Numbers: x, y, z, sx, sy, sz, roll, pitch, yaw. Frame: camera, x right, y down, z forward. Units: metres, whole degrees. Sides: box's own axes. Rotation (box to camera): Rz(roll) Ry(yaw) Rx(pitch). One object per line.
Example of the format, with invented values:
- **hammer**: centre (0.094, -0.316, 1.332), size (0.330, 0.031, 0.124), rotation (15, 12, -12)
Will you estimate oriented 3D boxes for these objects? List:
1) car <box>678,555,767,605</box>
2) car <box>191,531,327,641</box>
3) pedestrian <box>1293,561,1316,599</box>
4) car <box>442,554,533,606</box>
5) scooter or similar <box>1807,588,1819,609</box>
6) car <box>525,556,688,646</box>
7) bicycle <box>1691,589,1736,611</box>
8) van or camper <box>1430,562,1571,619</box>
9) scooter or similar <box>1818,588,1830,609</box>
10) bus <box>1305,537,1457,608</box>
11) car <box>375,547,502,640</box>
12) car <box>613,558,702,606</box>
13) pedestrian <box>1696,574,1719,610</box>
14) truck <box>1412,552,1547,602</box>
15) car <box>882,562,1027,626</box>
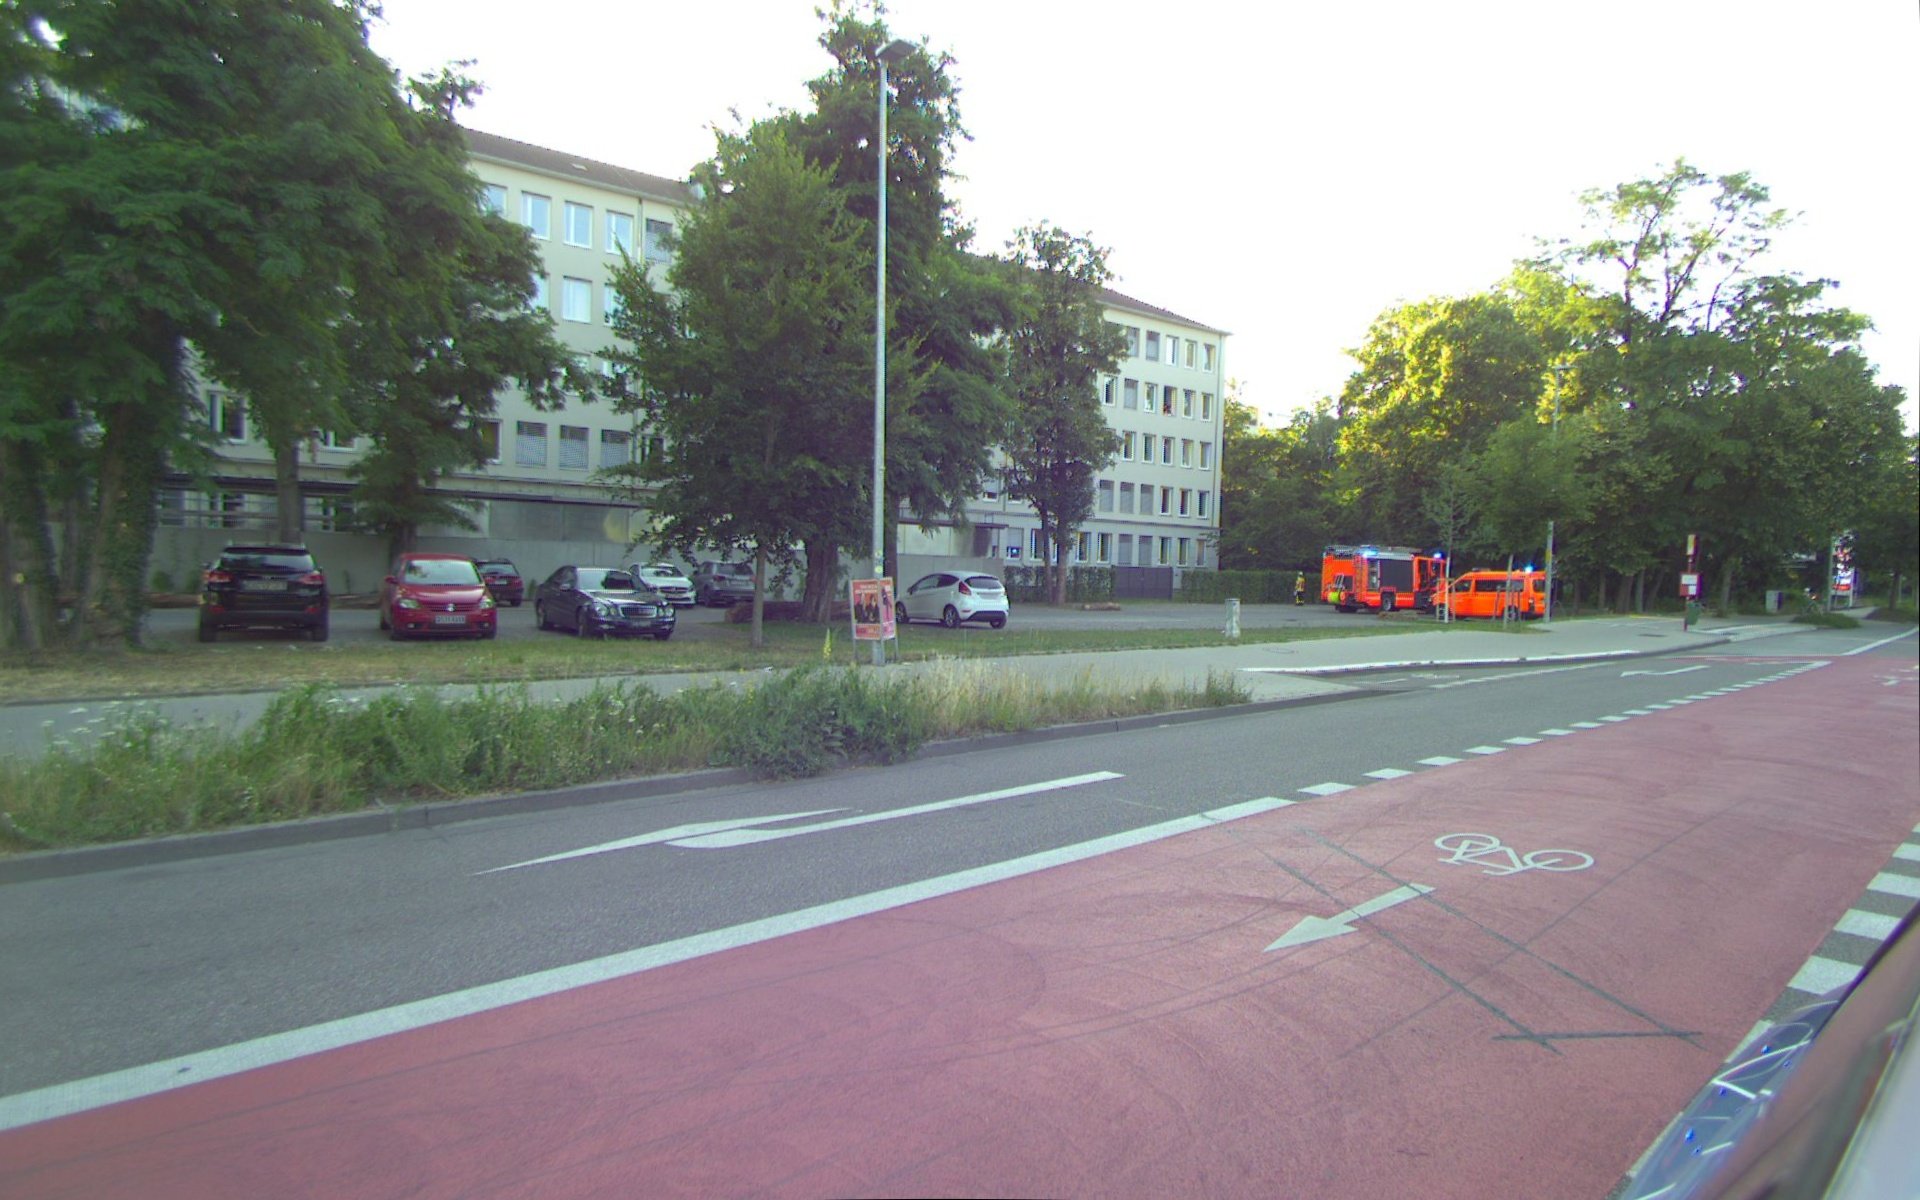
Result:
- **car**: centre (-8.354, -0.722, 35.422), size (1.875, 1.636, 4.004), rotation (-1, 2, -32)
- **car**: centre (-12.397, -0.277, 17.889), size (1.802, 1.715, 3.910), rotation (0, 1, -36)
- **pedestrian**: centre (18.887, -1.080, 55.513), size (0.810, 2.038, 0.774), rotation (1, 2, -32)
- **car**: centre (-14.463, -0.627, 30.869), size (1.866, 1.460, 4.001), rotation (0, 2, -35)
- **scooter or similar**: centre (53.194, -0.097, 63.089), size (0.482, 1.297, 1.213), rotation (5, 3, 40)
- **car**: centre (-7.445, -0.083, 21.009), size (1.866, 1.465, 4.584), rotation (-2, 6, -37)
- **bicycle**: centre (43.072, -0.007, 57.885), size (0.816, 1.111, 1.973), rotation (1, 2, -11)
- **van or camper**: centre (23.046, -0.448, 43.336), size (2.250, 2.272, 4.832), rotation (0, 1, -33)
- **scooter or similar**: centre (54.811, -0.084, 64.211), size (0.482, 1.297, 1.123), rotation (5, 3, 41)
- **bus**: centre (20.672, -1.314, 49.493), size (7.810, 3.236, 2.999), rotation (0, 1, -34)
- **car**: centre (-10.153, -0.192, 19.548), size (1.751, 1.580, 4.003), rotation (0, 2, -34)
- **car**: centre (-10.144, -0.623, 33.726), size (1.798, 1.494, 4.002), rotation (0, 1, -33)
- **pedestrian**: centre (42.597, -0.477, 57.673), size (0.711, 2.038, 0.696), rotation (1, 2, -6)
- **truck**: centre (36.655, -1.723, 71.864), size (2.703, 3.250, 8.683), rotation (1, 2, -24)
- **car**: centre (-0.227, -0.208, 27.020), size (1.876, 1.556, 3.999), rotation (0, 2, -37)
